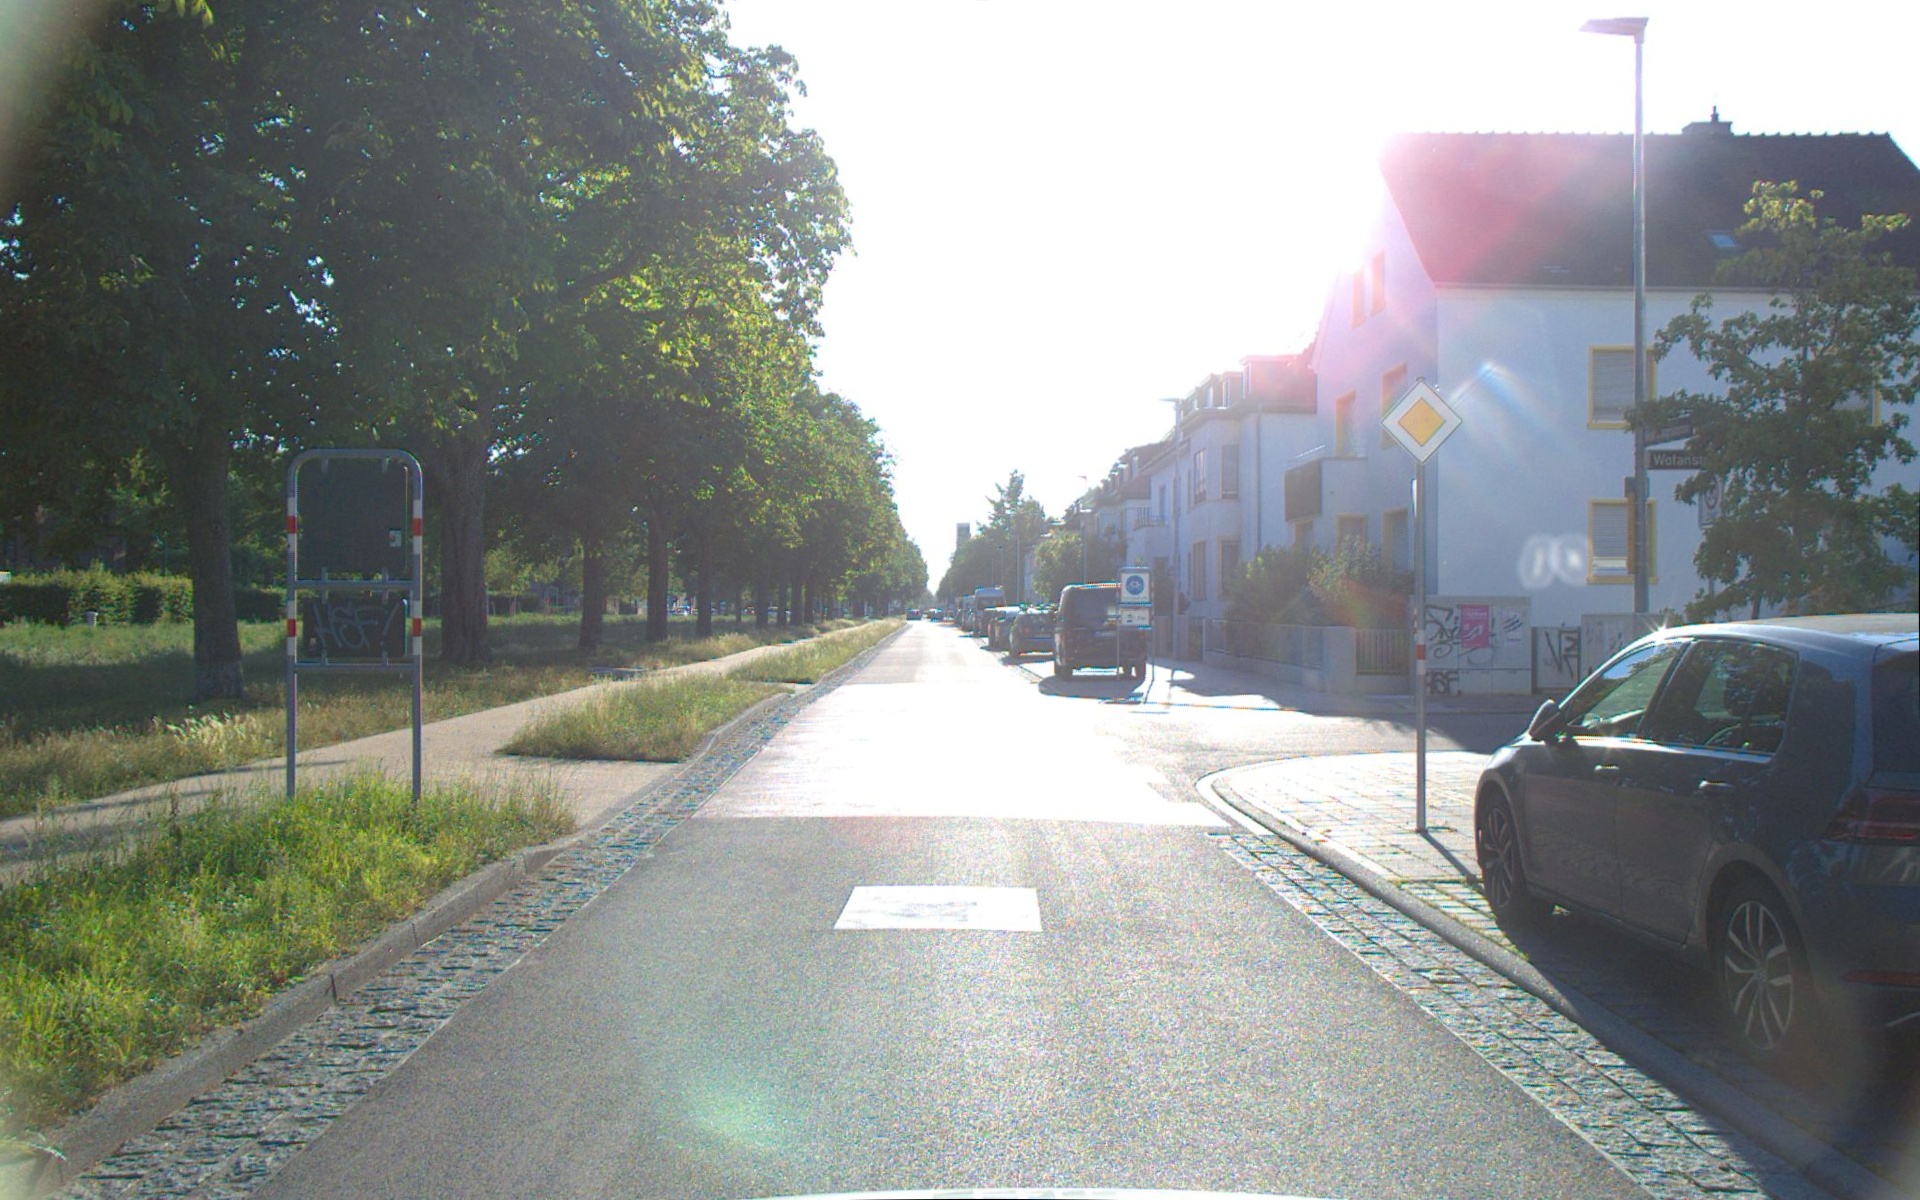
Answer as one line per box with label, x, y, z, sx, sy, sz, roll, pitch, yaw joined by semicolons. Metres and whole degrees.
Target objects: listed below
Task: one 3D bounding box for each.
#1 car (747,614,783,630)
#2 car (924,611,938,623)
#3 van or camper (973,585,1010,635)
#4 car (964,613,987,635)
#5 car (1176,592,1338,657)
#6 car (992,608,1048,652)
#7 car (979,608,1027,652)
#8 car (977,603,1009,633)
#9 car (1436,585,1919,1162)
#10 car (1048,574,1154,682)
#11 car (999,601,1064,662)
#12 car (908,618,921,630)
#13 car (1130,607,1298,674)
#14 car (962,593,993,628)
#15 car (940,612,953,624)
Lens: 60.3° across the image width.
car;-23.645;2.675;200.476;4.266;1.795;1.995;1;-1;-10
car;-4.123;2.461;234.075;1.825;1.625;3.892;1;0;-2
van or camper;1.837;0.649;98.140;1.904;2.826;5.938;1;-1;-1
car;1.139;1.770;122.242;1.616;1.557;3.851;-1;0;0
car;8.295;0.685;46.425;4.134;1.756;1.851;-1;-1;-5
car;2.329;1.160;64.927;1.684;1.601;4.206;-2;-1;-4
car;1.810;1.245;70.768;1.795;1.714;4.414;2;0;-1
car;1.821;1.002;91.638;1.630;1.621;4.085;1;-1;-1
car;3.413;0.741;6.660;1.757;1.508;4.123;-2;1;0
car;3.047;0.584;36.569;1.867;2.169;4.814;-2;0;0
car;2.249;0.971;52.923;1.757;1.802;4.471;-2;0;-1
car;-6.415;3.323;233.110;1.825;1.625;3.868;1;-1;-2
car;6.773;1.078;44.319;4.134;1.756;1.851;0;-1;-5
car;1.340;0.800;128.466;2.084;2.577;5.185;-1;0;-3
car;-1.708;2.317;215.908;1.616;1.557;3.851;1;0;0
